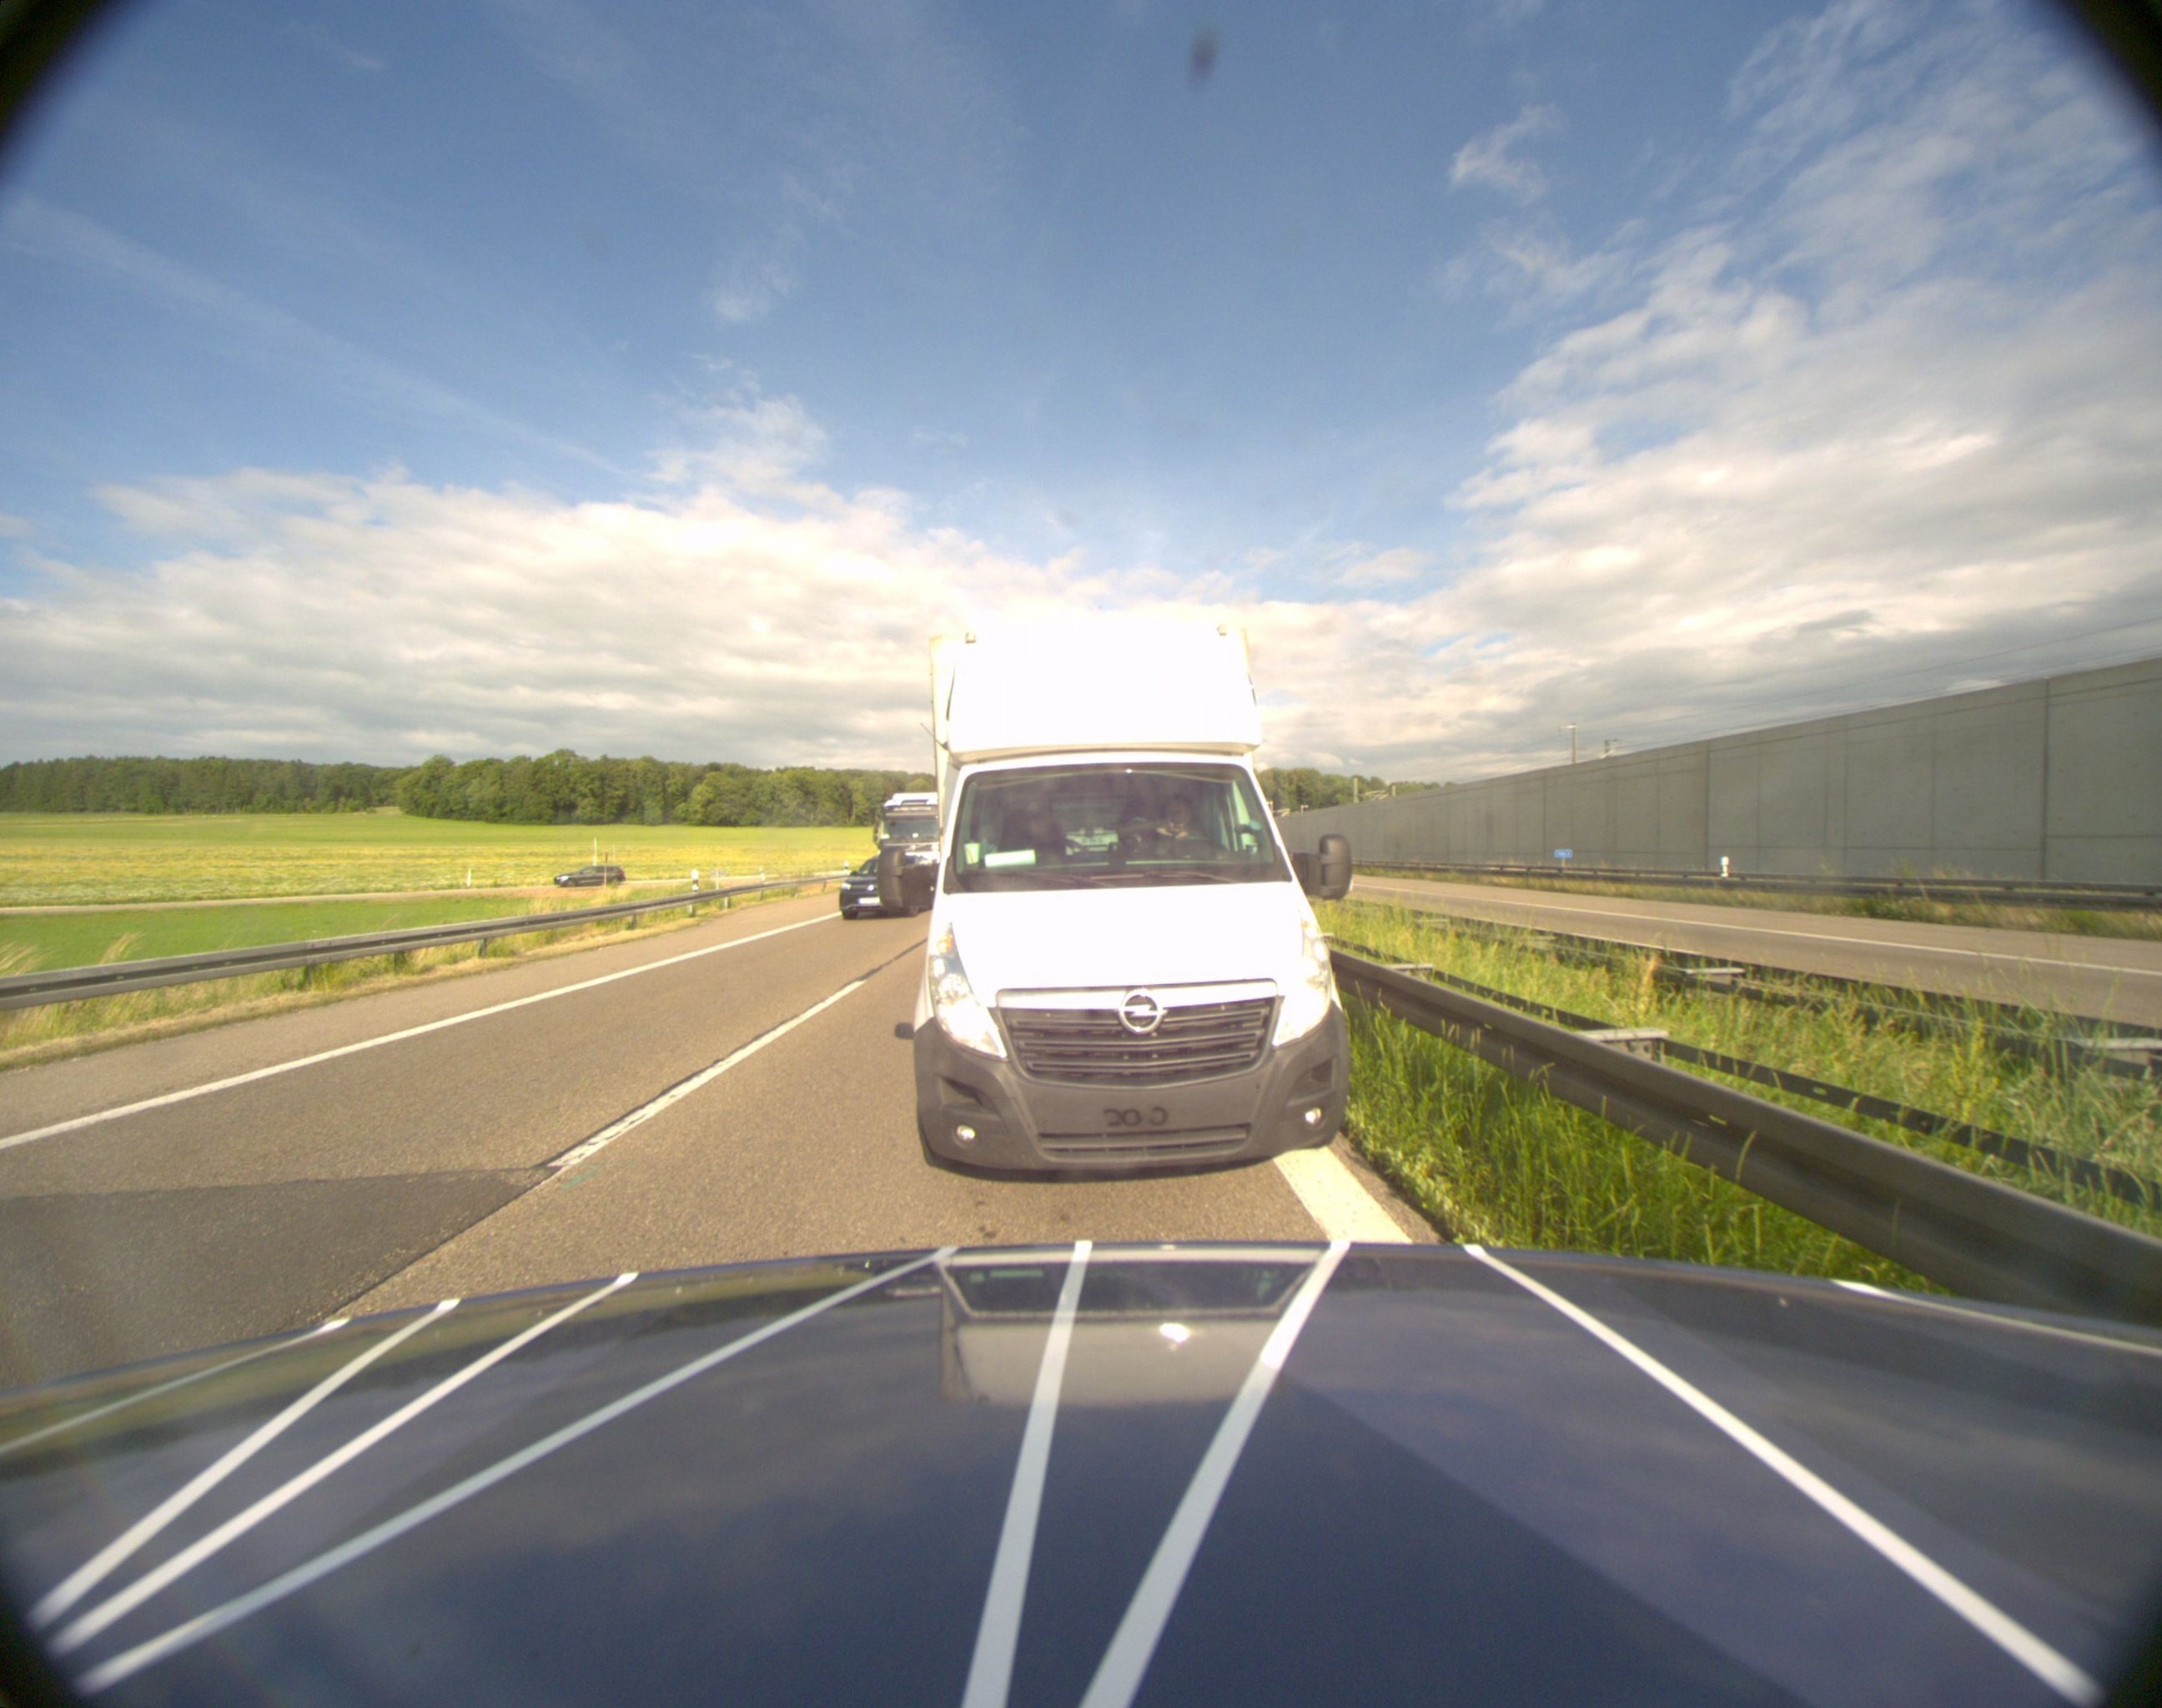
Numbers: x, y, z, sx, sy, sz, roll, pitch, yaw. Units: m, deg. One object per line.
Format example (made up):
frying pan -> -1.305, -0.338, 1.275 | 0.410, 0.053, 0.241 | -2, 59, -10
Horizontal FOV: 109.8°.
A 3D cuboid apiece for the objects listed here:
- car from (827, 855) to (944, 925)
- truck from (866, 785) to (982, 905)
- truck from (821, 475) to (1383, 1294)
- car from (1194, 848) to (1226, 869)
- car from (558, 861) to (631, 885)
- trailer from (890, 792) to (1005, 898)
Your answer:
car -> -5.133, 0.888, 20.601 | 1.998, 1.587, 4.118 | -2, 1, 1
truck -> -5.781, -0.341, 29.169 | 2.842, 3.967, 6.500 | -2, 1, 1
truck -> 0.141, 0.091, 6.830 | 2.060, 3.088, 7.803 | -2, 1, 1
car -> 10.769, 0.326, 63.593 | 1.998, 1.587, 4.118 | -2, 1, 1
car -> -34.914, 1.357, 54.611 | 4.228, 1.477, 1.833 | -3, 1, -38
trailer -> -5.703, -0.411, 35.023 | 2.826, 3.959, 12.127 | -2, 1, 1
